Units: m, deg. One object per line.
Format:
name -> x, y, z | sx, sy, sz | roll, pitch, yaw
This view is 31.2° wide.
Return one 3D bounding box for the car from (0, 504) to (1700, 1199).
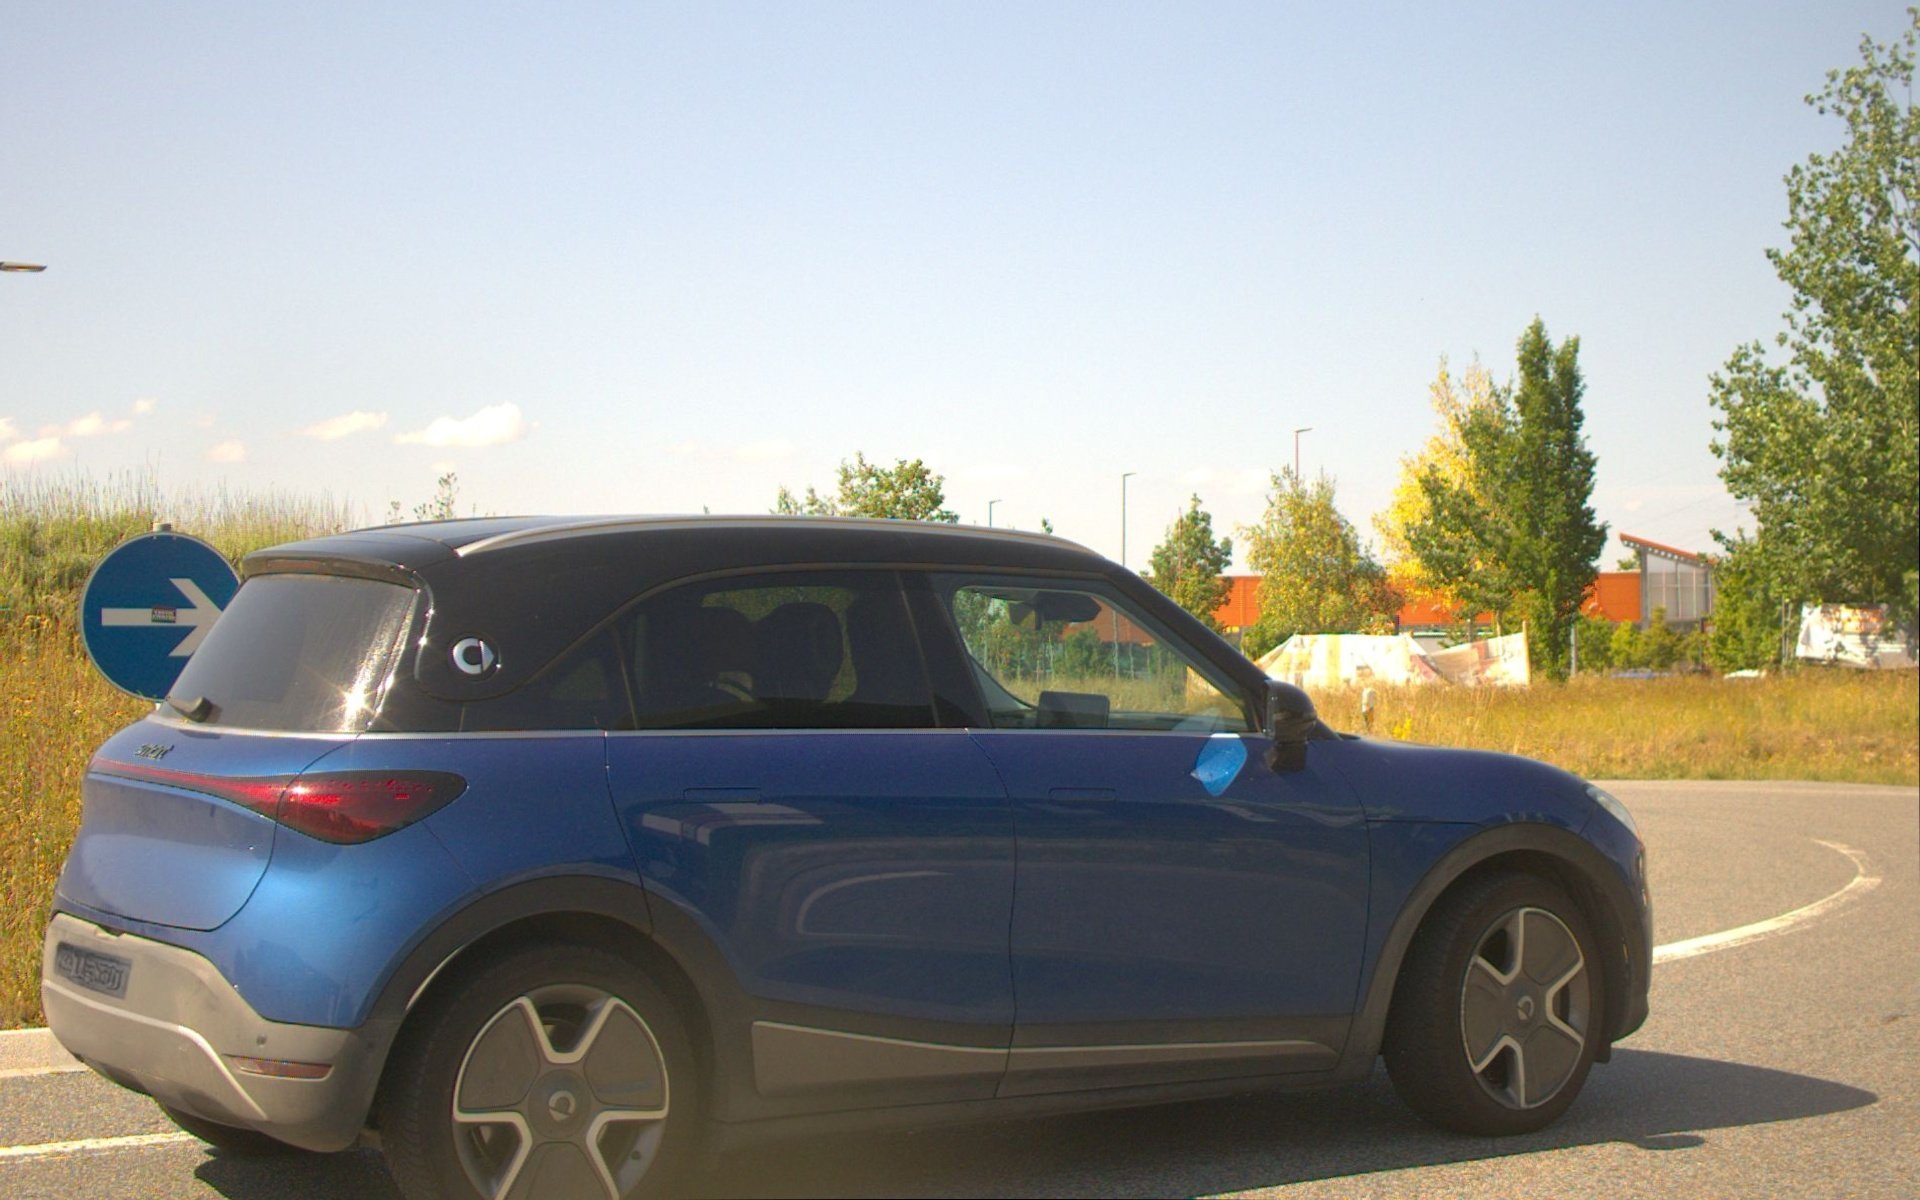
car -> -0.279, 0.595, 8.765 | 4.067, 1.630, 1.857 | -1, 1, -31
